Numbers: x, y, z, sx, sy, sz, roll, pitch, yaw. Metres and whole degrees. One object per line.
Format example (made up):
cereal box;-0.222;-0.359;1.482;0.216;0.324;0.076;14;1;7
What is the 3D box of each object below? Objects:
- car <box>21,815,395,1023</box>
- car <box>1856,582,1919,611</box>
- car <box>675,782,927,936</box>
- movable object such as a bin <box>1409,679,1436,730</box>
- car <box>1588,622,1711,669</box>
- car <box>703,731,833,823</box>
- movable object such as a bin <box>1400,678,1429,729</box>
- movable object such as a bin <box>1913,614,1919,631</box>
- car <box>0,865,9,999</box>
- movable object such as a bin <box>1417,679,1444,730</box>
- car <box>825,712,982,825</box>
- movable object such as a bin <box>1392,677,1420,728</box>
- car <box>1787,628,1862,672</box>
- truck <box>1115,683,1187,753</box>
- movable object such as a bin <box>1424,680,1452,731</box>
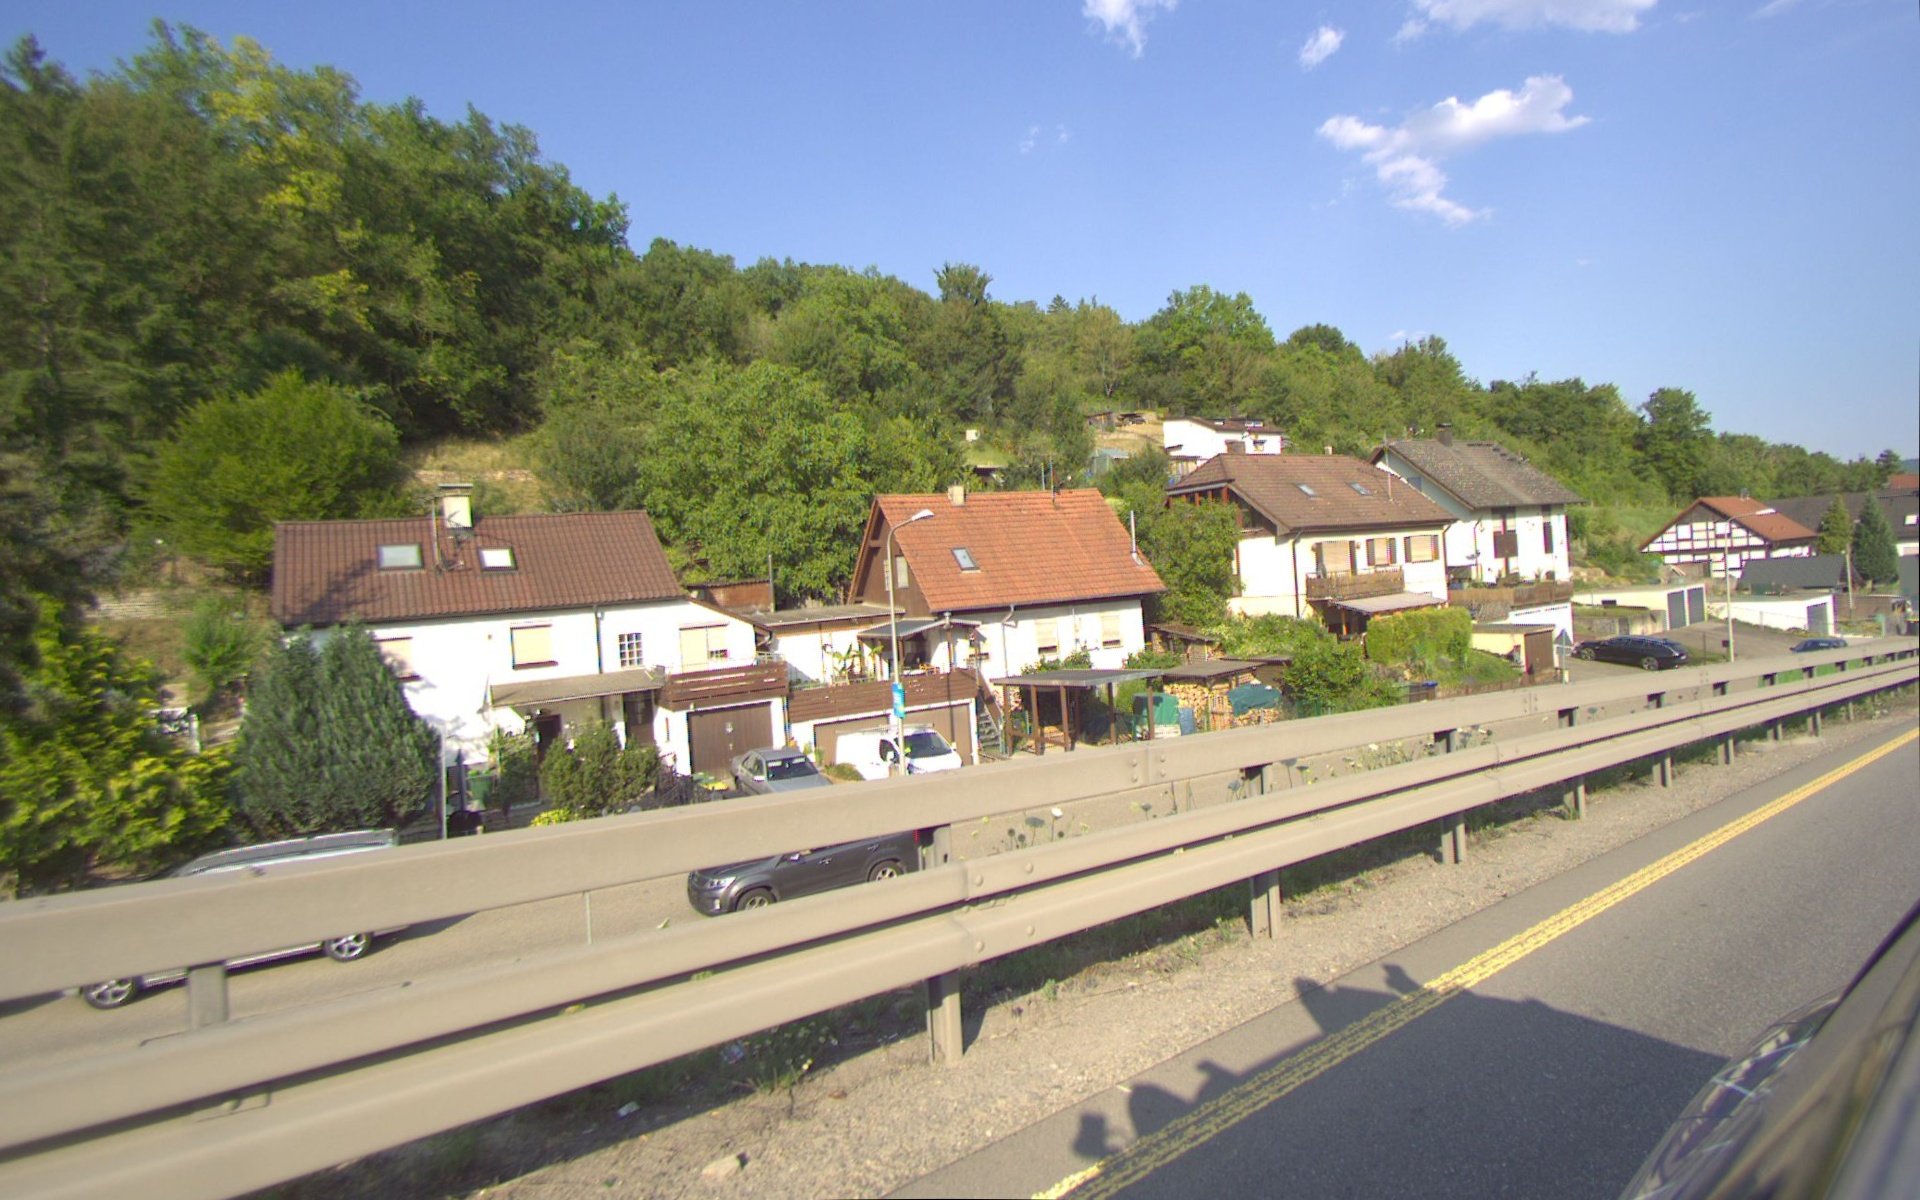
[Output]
car;-12.342;5.184;17.118;4.768;1.940;2.004;-3;2;-30
car;67.139;-0.277;72.574;1.717;1.861;4.002;-3;4;-34
car;-3.029;4.860;19.576;4.411;1.807;1.869;-2;1;-32
movable object such as a bin;16.909;3.835;36.991;0.405;1.794;0.491;-3;-8;-28
car;33.884;2.190;49.855;1.961;1.542;4.517;-4;8;-31
car;-5.408;4.764;27.884;1.683;1.576;5.109;-3;1;-33
movable object such as a bin;16.533;3.771;36.810;0.400;1.794;0.537;-3;-8;-28
movable object such as a bin;58.524;1.342;61.517;0.665;1.014;0.724;-2;-1;-35
car;-17.104;5.446;14.330;4.955;2.010;1.869;-3;2;-33
movable object such as a bin;17.286;3.852;37.180;0.405;1.794;0.491;-3;-8;-28
car;-1.756;4.666;29.046;1.962;2.292;5.486;-3;1;-33
movable object such as a bin;16.149;3.707;36.627;0.408;1.794;0.531;-3;-8;-28
car;40.451;2.333;47.346;3.551;1.619;1.771;-4;-5;-37
truck;6.458;3.972;34.657;1.966;1.760;3.991;-7;-2;7
movable object such as a bin;17.652;3.893;37.383;0.405;1.794;0.491;-3;-8;-28
